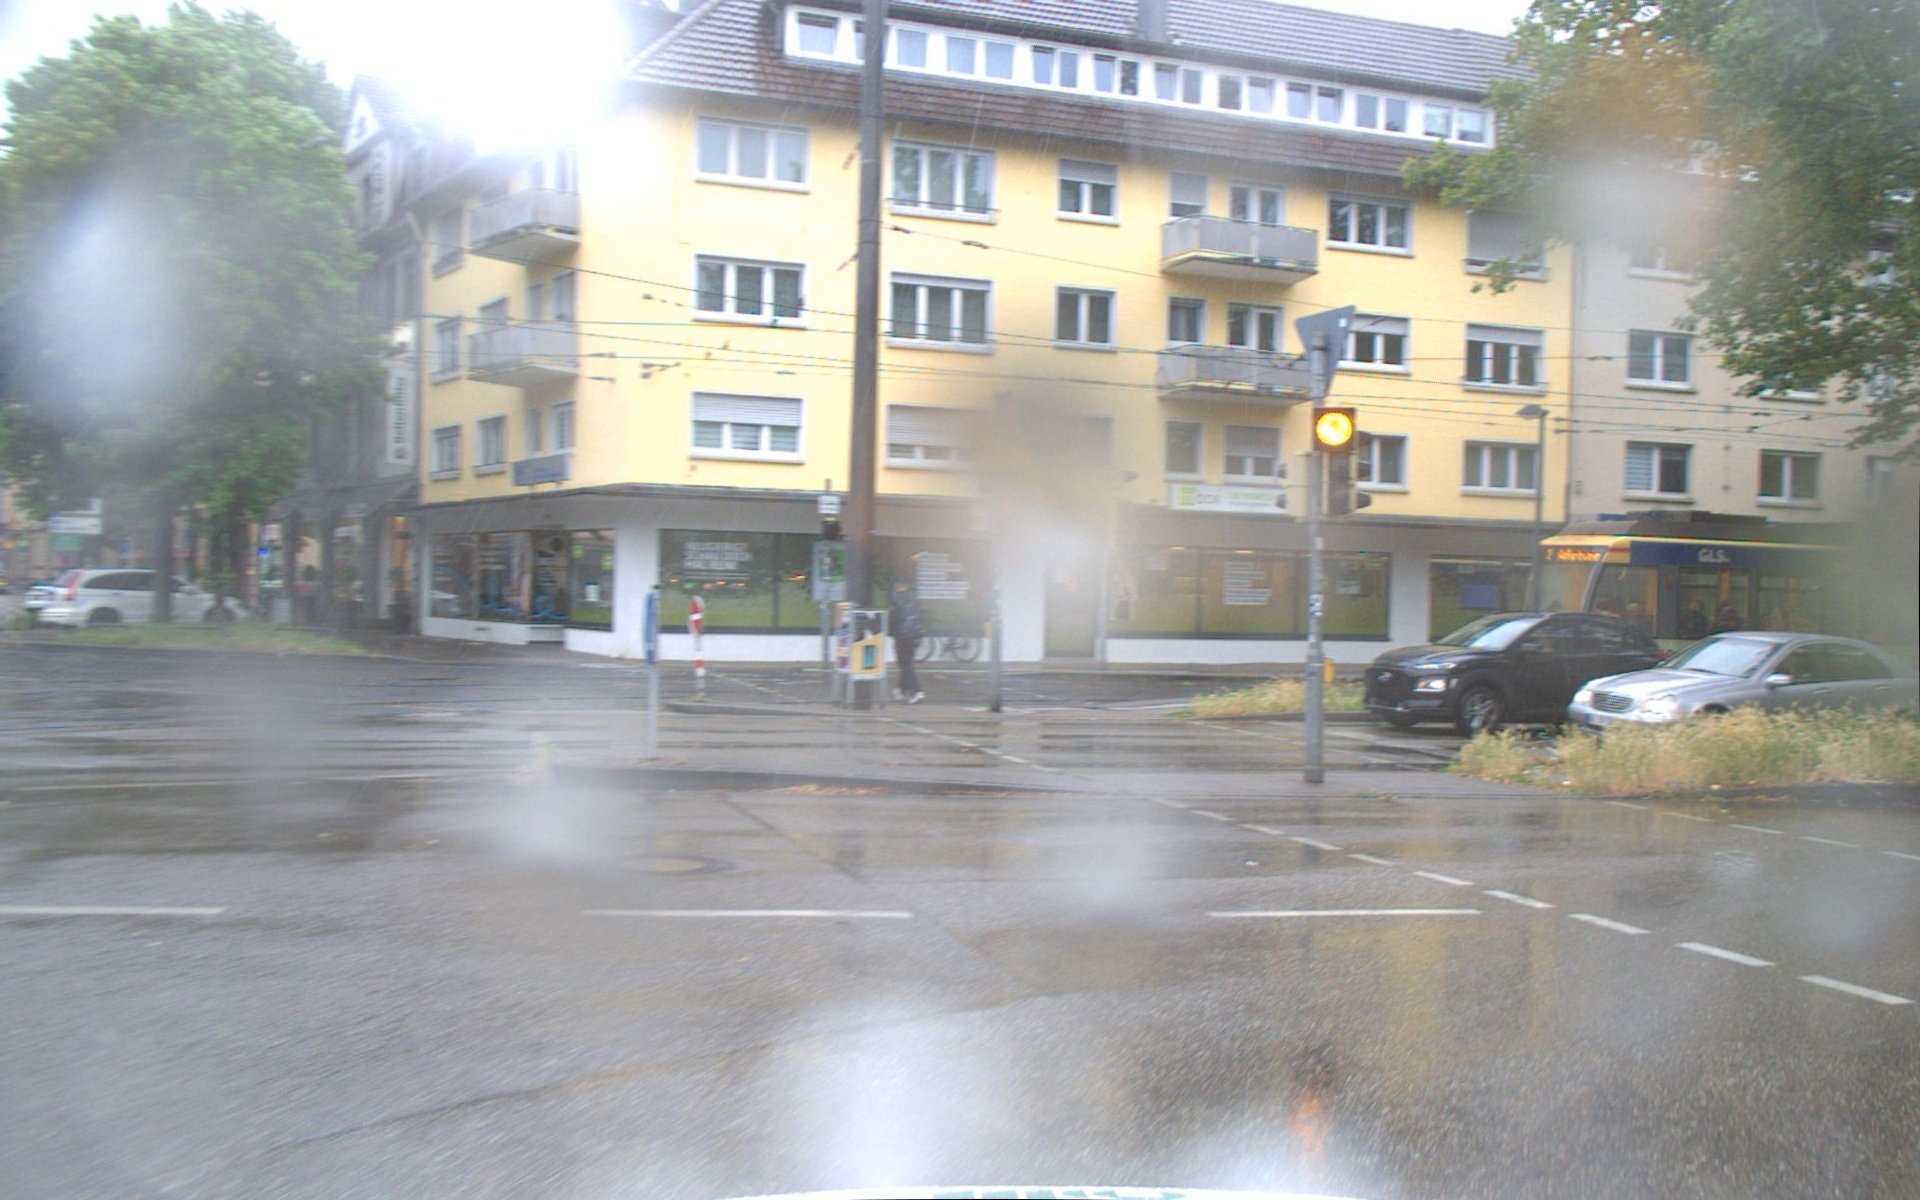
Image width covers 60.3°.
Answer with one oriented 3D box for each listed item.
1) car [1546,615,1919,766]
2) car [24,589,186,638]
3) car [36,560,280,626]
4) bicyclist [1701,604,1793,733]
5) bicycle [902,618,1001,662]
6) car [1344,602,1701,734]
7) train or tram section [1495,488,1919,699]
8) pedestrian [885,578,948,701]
[{"bbox_3d":[9.033,0.980,18.749,4.418,1.515,1.731,1,1,-20],"label":"car"},{"bbox_3d":[-29.185,0.454,56.604,4.496,1.584,1.996,1,1,-10],"label":"car"},{"bbox_3d":[-19.182,-0.173,39.698,4.944,1.499,1.970,0,1,-41],"label":"car"},{"bbox_3d":[10.935,0.944,22.998,0.875,1.746,0.709,2,-1,-22],"label":"bicyclist"},{"bbox_3d":[-0.183,0.857,35.376,2.008,0.912,0.610,1,0,-19],"label":"bicycle"},{"bbox_3d":[7.253,0.834,21.325,4.214,1.528,1.866,1,0,-24],"label":"car"},{"bbox_3d":[17.470,0.032,32.360,14.308,3.620,3.099,1,0,-19],"label":"train or tram section"},{"bbox_3d":[-0.629,0.554,23.700,0.796,1.707,1.015,1,0,-6],"label":"pedestrian"}]
